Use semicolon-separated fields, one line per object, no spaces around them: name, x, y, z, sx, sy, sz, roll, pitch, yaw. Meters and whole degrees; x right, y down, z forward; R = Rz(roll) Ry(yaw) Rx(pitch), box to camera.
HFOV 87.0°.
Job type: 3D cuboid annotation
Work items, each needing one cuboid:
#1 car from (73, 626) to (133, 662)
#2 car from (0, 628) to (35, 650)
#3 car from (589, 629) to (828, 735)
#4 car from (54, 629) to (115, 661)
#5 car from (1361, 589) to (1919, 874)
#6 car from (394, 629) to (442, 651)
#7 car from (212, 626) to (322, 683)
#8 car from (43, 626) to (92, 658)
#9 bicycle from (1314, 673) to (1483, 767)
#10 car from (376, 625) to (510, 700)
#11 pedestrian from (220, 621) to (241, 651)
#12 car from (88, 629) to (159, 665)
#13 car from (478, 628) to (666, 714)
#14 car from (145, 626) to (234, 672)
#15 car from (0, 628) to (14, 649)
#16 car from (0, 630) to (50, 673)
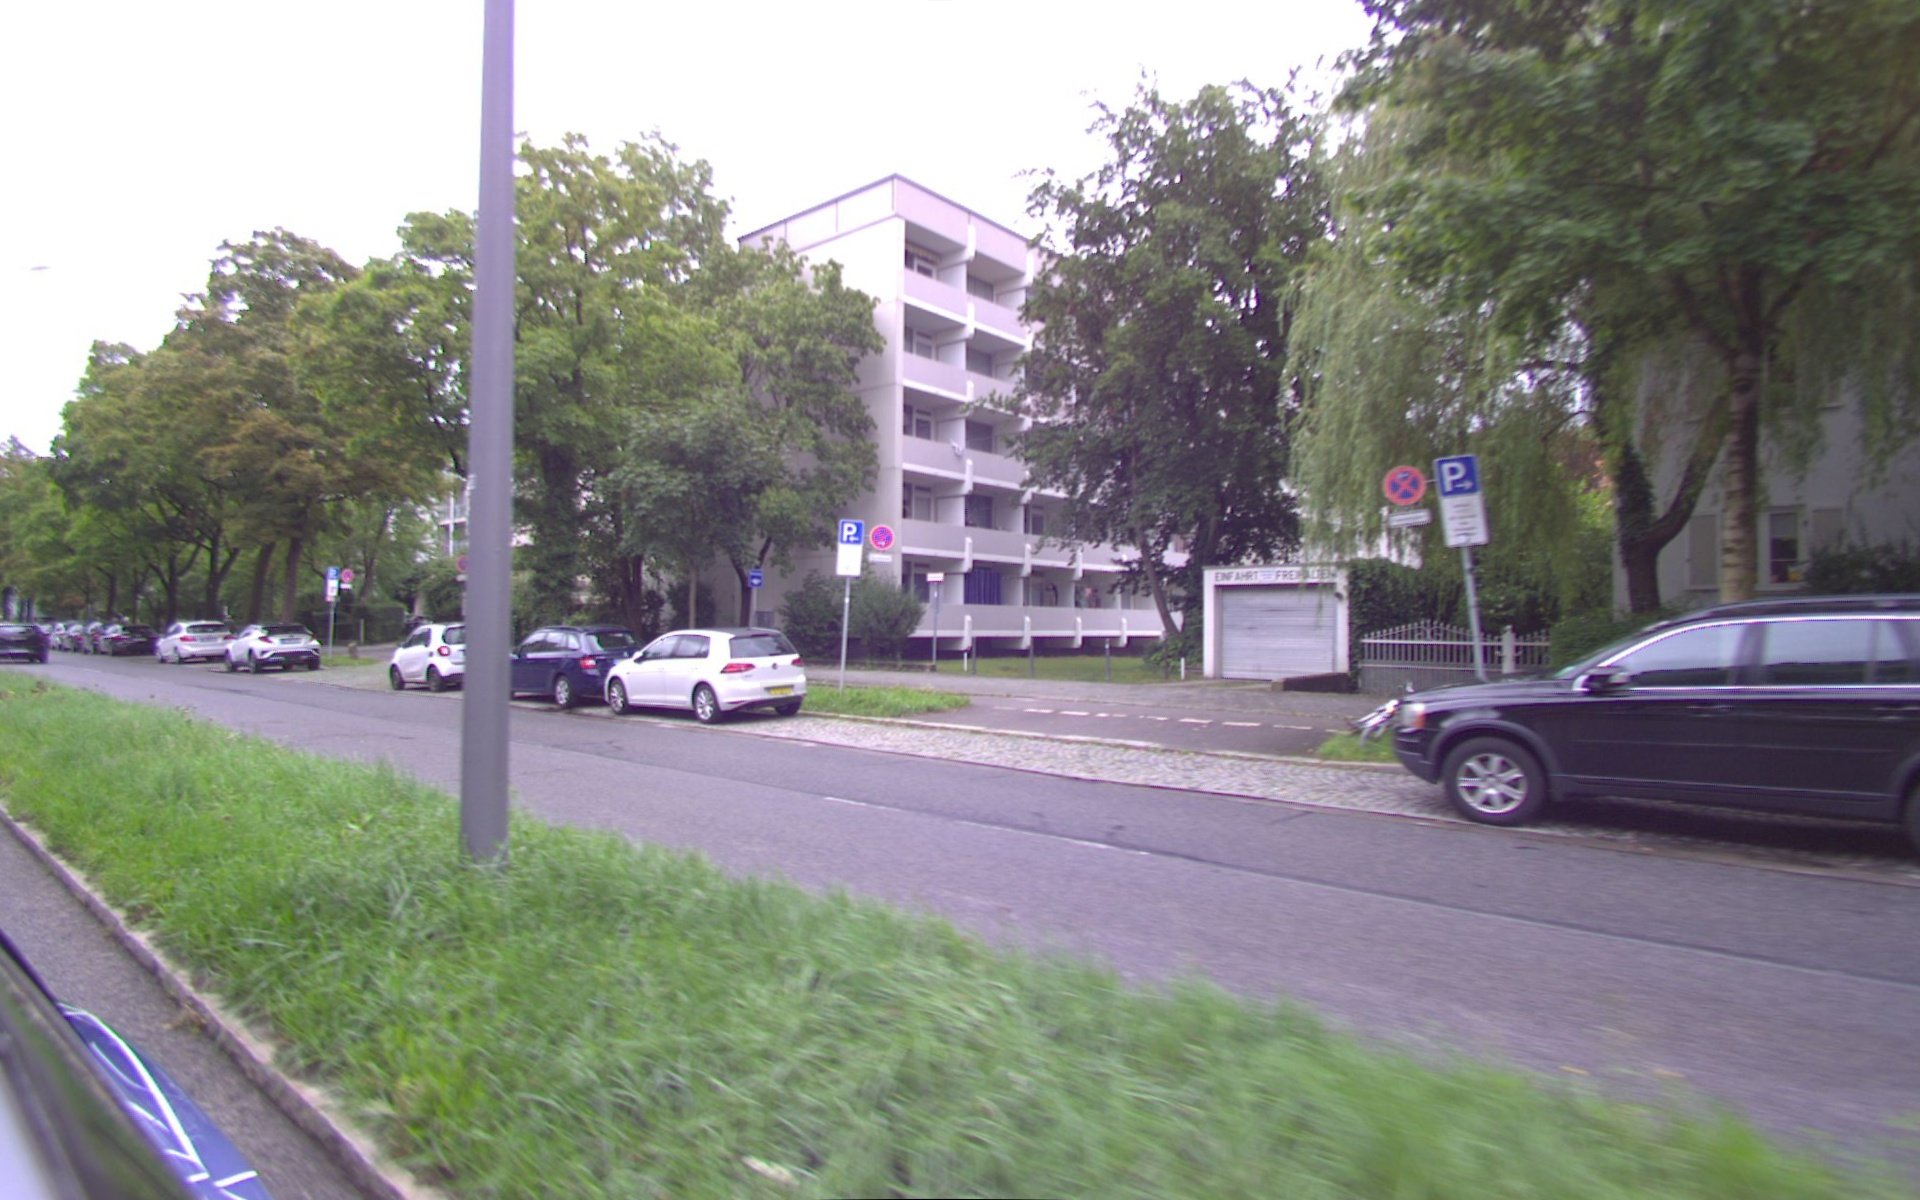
car;-42.080;2.145;49.678;4.208;1.609;1.668;-2;0;42
car;-67.556;2.746;72.222;4.819;1.459;1.719;-2;0;41
car;-4.260;1.255;16.729;4.318;1.454;1.657;-2;0;42
car;-46.105;2.333;53.260;5.031;1.536;1.699;-2;0;41
car;5.923;0.854;7.668;5.049;1.776;1.780;-2;0;37
car;-30.835;2.277;57.531;3.125;1.209;1.440;-2;-2;42
car;-21.962;1.668;32.000;4.489;1.621;1.813;-2;0;42
car;-50.115;2.343;56.800;3.866;1.660;1.608;-2;0;42
bicycle;5.015;1.323;11.551;1.403;0.835;1.437;-1;0;41
car;-12.129;1.413;23.708;3.076;1.577;1.674;-2;0;39
pedestrian;-40.879;2.014;56.720;0.609;1.669;0.839;-2;-3;44
car;-38.506;2.130;46.546;4.945;1.525;1.742;-2;0;42
car;-7.632;1.294;19.717;4.213;1.486;1.657;-1;-2;41
car;-29.432;1.835;38.596;4.485;1.607;1.739;-2;0;40
car;-74.935;2.996;78.581;4.473;1.541;1.721;-2;-1;41
car;-34.044;1.806;36.205;4.213;1.451;1.720;-2;-3;41
